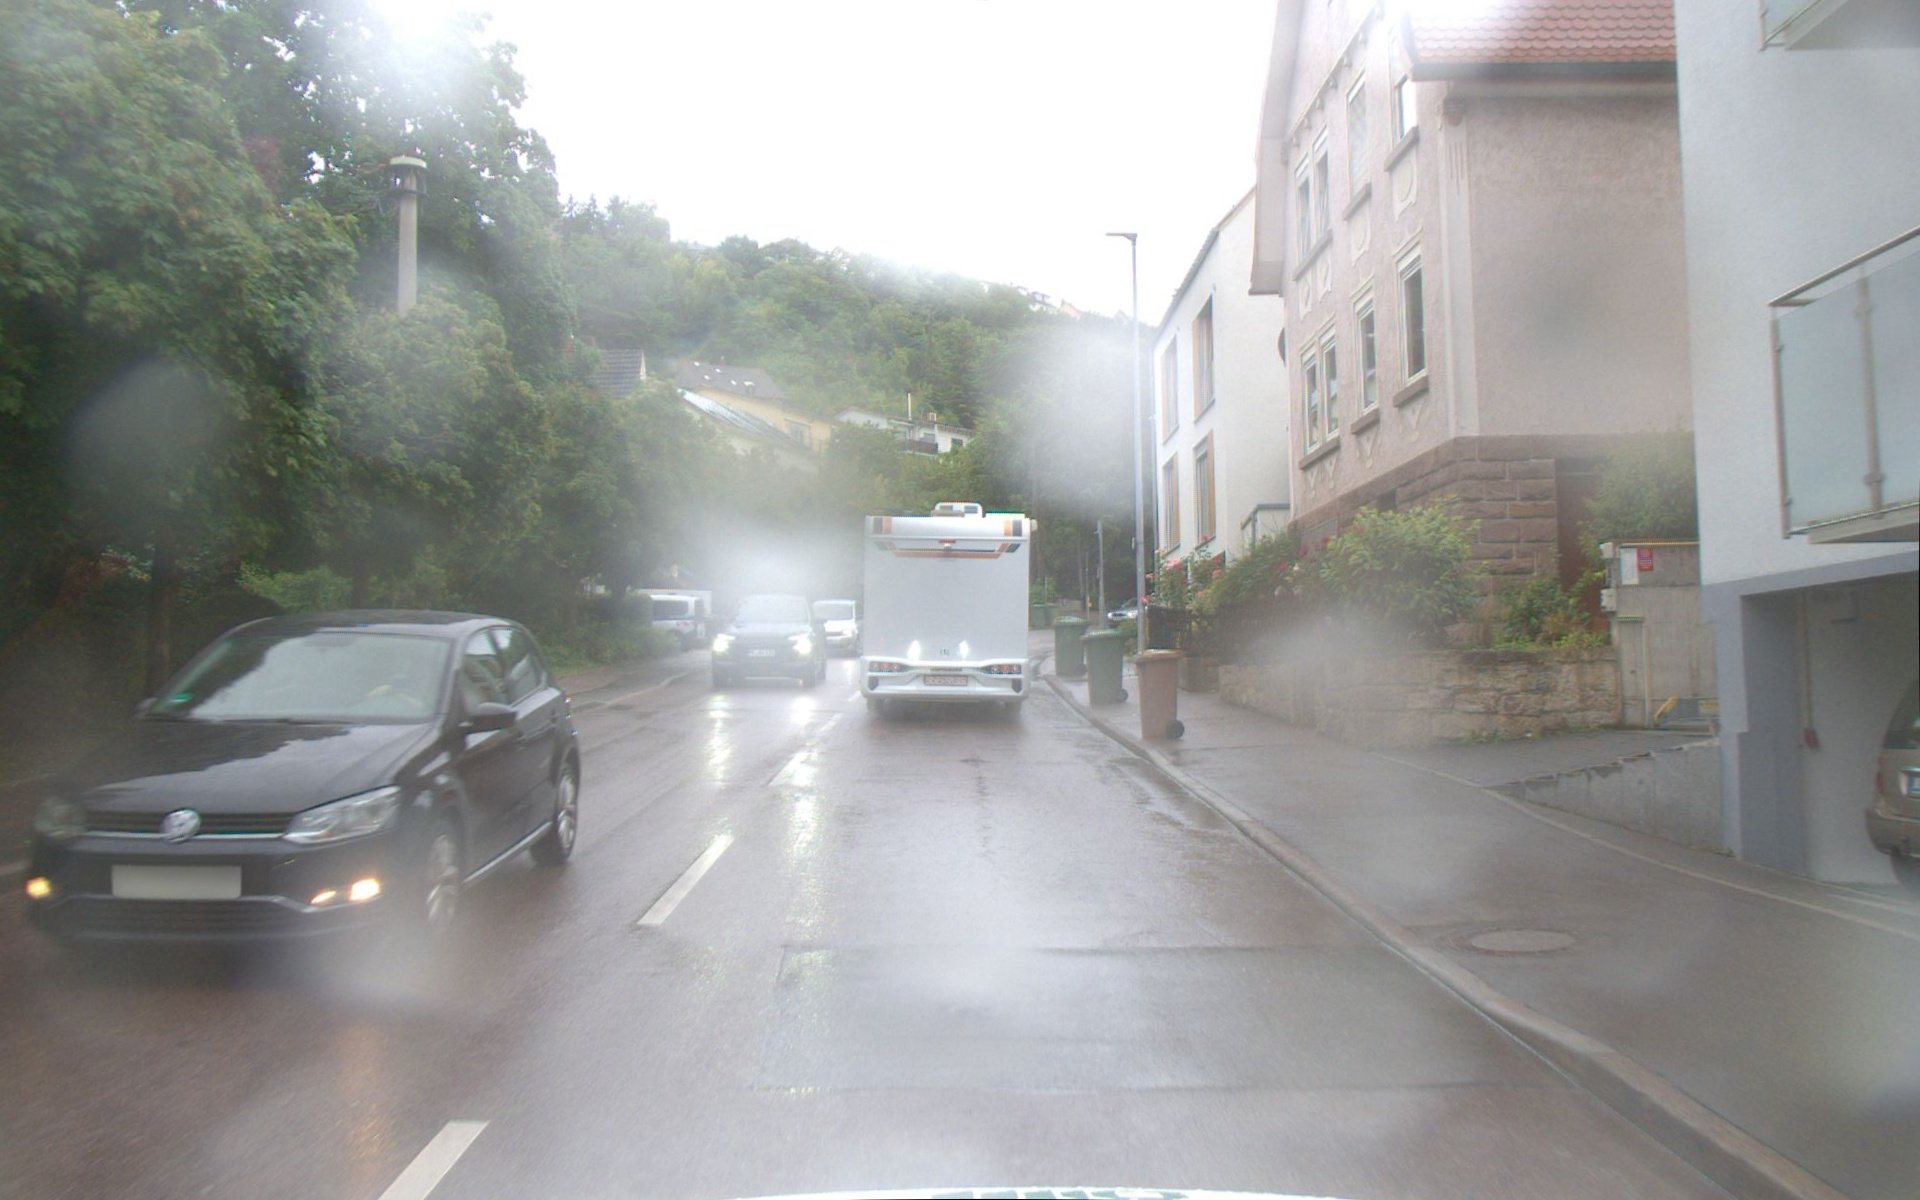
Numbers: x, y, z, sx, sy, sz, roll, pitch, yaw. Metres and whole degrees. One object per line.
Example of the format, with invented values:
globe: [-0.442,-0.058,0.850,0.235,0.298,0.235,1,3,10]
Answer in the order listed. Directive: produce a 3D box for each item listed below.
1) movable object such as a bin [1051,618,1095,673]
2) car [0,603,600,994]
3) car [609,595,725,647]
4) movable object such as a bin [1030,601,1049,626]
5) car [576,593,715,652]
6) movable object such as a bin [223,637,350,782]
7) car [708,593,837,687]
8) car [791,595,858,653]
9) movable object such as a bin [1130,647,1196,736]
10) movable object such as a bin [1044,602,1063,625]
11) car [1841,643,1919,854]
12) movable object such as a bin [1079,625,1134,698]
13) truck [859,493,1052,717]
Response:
movable object such as a bin: [2.232,0.896,32.728,0.818,1.079,0.750,0,0,0]
car: [-2.914,0.752,8.133,1.586,1.466,3.736,0,0,-2]
car: [-10.460,0.737,59.086,4.003,1.805,1.795,1,0,-11]
movable object such as a bin: [3.756,0.618,78.059,0.659,1.159,0.619,0,0,-30]
car: [-10.001,0.708,52.750,4.021,1.831,2.000,0,0,1]
movable object such as a bin: [-5.445,0.870,13.405,0.706,1.119,0.757,1,0,-1]
car: [-3.461,0.706,31.240,1.878,1.652,4.363,0,0,1]
car: [-3.853,0.666,47.472,1.768,1.581,3.827,0,0,-2]
movable object such as a bin: [2.182,0.975,17.830,0.617,0.913,0.712,0,0,-1]
movable object such as a bin: [4.440,0.648,78.429,0.697,1.107,0.555,0,0,-31]
car: [8.091,0.962,10.727,3.893,1.327,1.681,0,0,-2]
movable object such as a bin: [2.226,0.930,25.270,0.780,1.089,0.761,0,0,1]
truck: [-0.181,0.066,24.277,2.465,2.867,6.198,0,0,-2]
